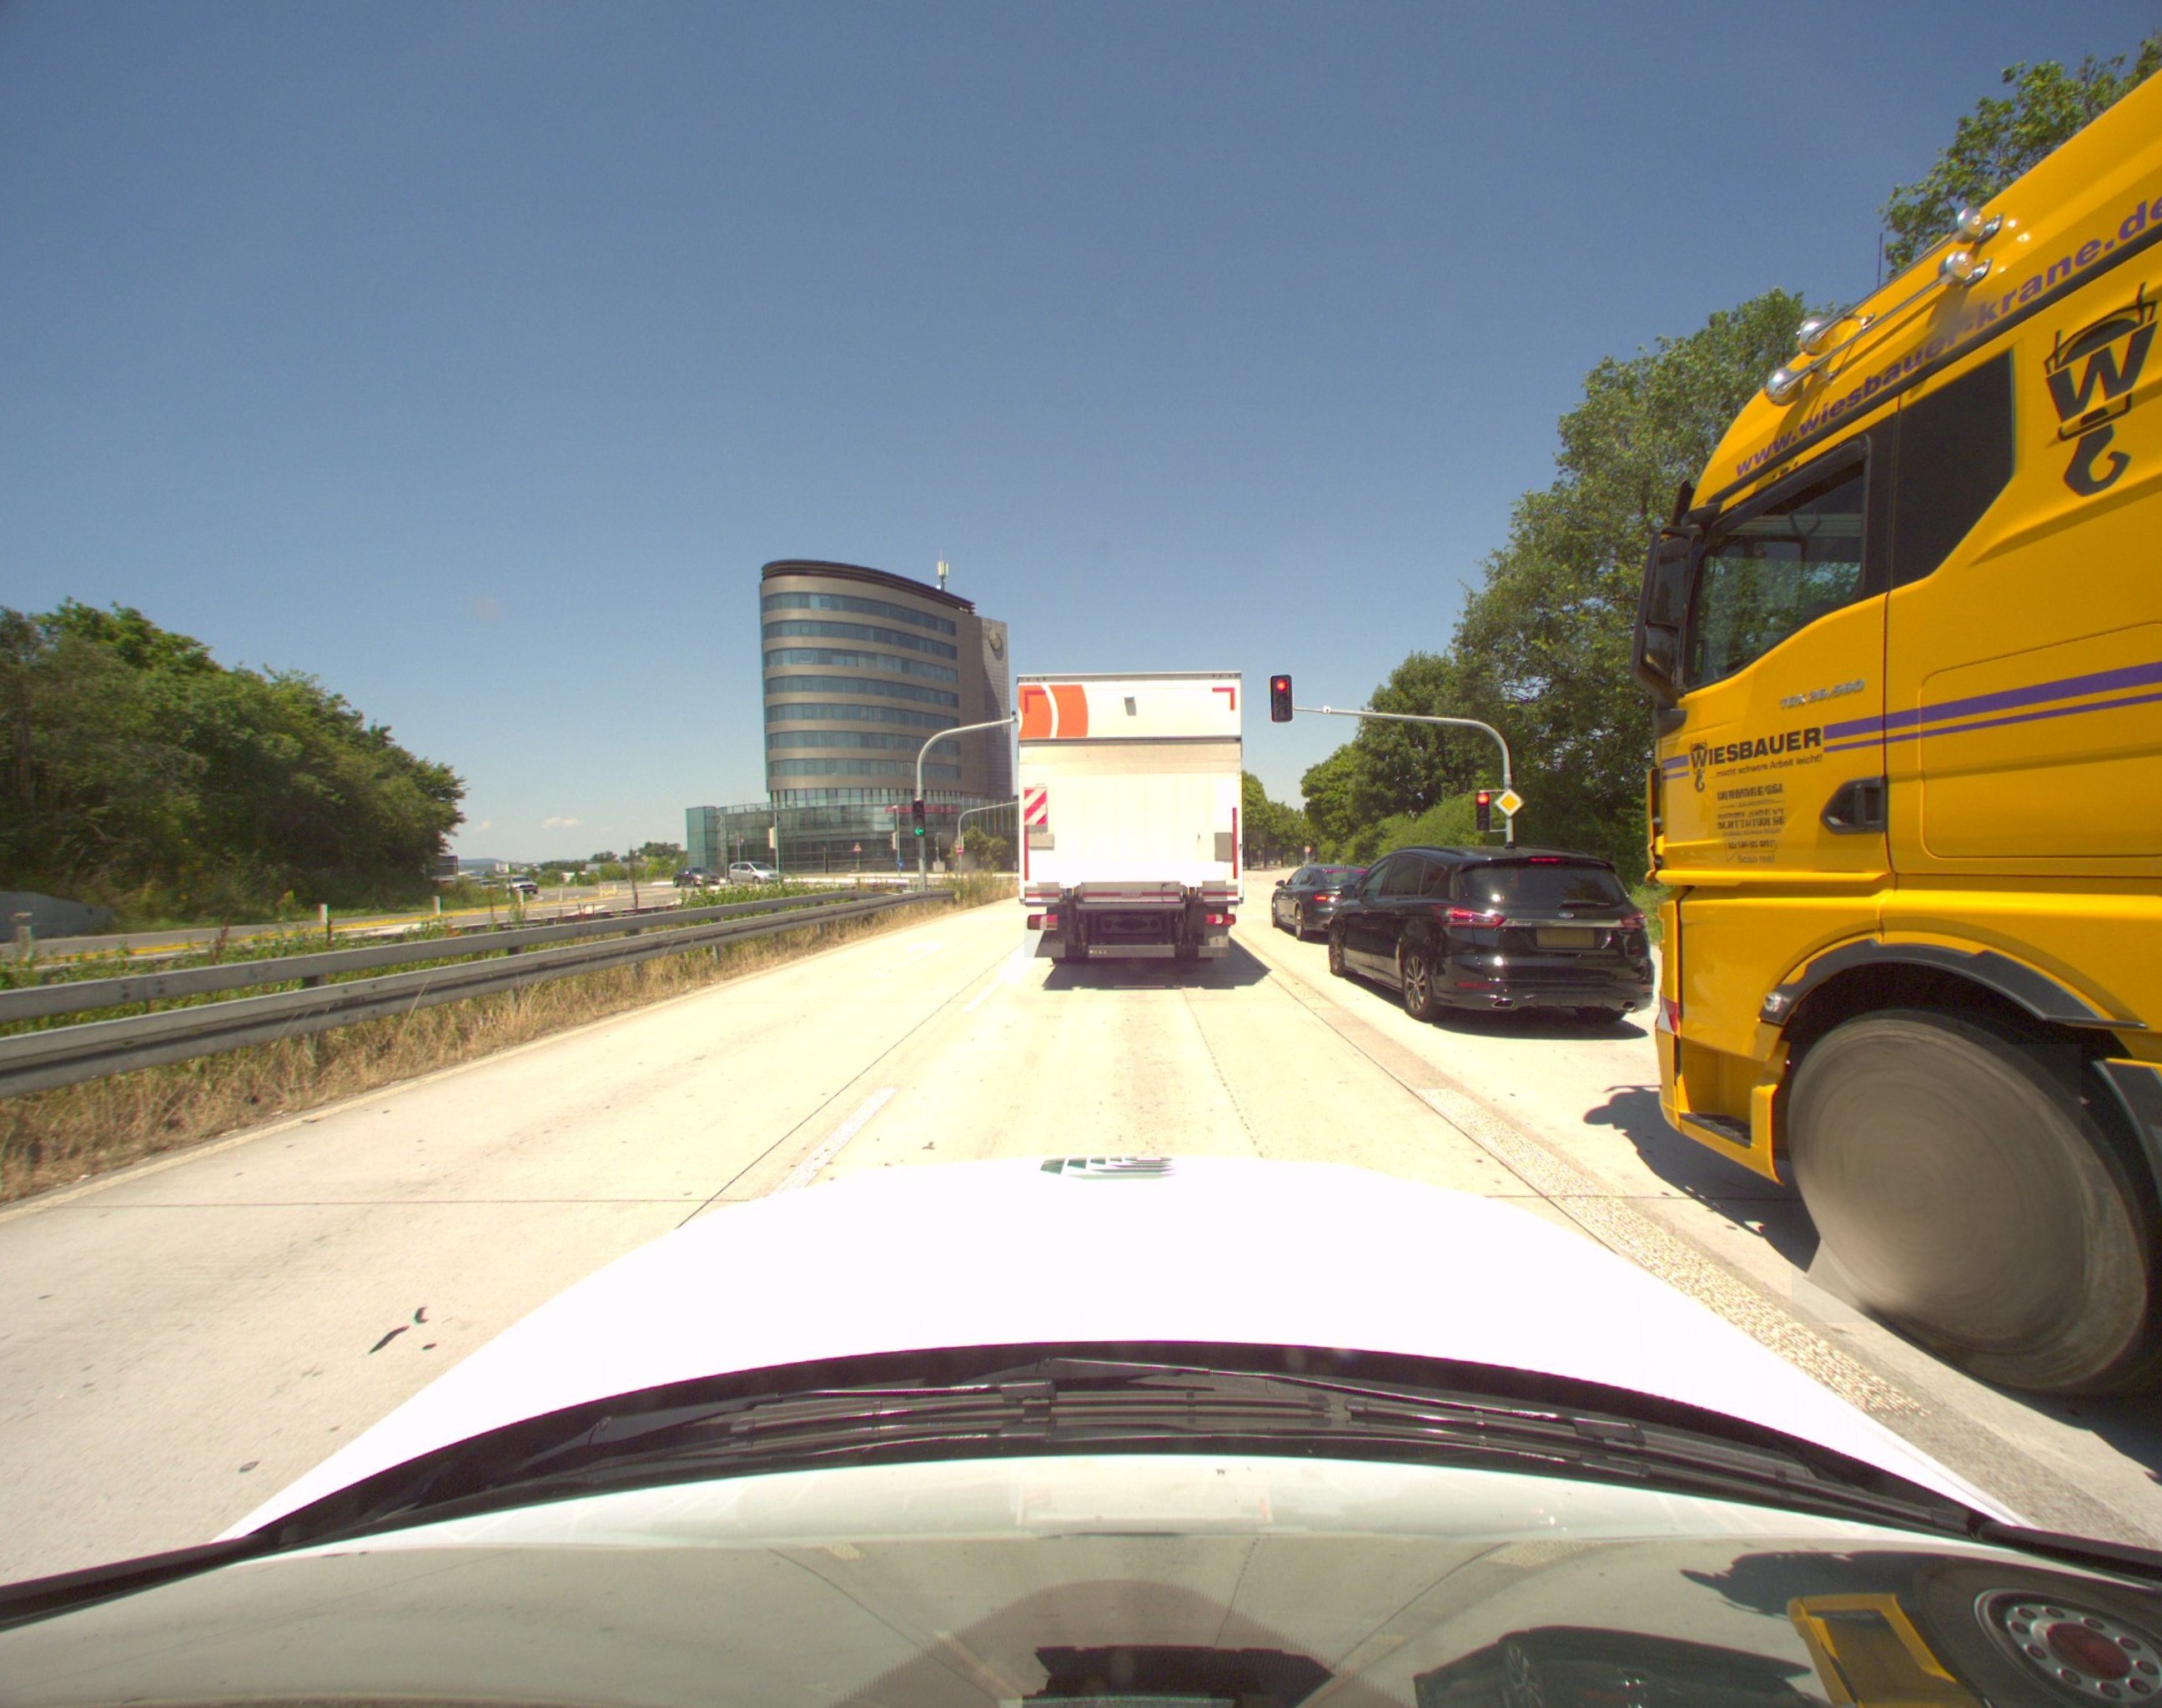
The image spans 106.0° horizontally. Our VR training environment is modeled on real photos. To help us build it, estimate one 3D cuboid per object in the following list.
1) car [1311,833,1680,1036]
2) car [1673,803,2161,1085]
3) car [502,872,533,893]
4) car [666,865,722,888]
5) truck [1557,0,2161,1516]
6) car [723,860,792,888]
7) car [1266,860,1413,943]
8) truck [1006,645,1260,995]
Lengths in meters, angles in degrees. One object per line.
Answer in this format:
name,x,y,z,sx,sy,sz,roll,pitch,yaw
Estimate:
car,4.024,0.685,8.949,1.777,1.639,4.648,0,-1,1
car,7.896,0.599,7.353,1.760,1.807,4.795,0,-1,2
car,-51.099,2.569,73.812,2.009,1.773,4.802,0,-1,-38
car,-27.019,1.571,56.791,4.273,1.456,1.708,-4,-3,37
truck,3.848,-0.461,0.295,3.003,3.773,7.469,0,-1,0
car,-20.772,1.269,52.263,4.274,1.595,1.787,-3,-2,29
car,4.914,0.842,16.159,1.759,1.410,4.615,0,-1,4
truck,0.799,-0.317,13.782,2.758,3.860,9.376,-1,-1,3
